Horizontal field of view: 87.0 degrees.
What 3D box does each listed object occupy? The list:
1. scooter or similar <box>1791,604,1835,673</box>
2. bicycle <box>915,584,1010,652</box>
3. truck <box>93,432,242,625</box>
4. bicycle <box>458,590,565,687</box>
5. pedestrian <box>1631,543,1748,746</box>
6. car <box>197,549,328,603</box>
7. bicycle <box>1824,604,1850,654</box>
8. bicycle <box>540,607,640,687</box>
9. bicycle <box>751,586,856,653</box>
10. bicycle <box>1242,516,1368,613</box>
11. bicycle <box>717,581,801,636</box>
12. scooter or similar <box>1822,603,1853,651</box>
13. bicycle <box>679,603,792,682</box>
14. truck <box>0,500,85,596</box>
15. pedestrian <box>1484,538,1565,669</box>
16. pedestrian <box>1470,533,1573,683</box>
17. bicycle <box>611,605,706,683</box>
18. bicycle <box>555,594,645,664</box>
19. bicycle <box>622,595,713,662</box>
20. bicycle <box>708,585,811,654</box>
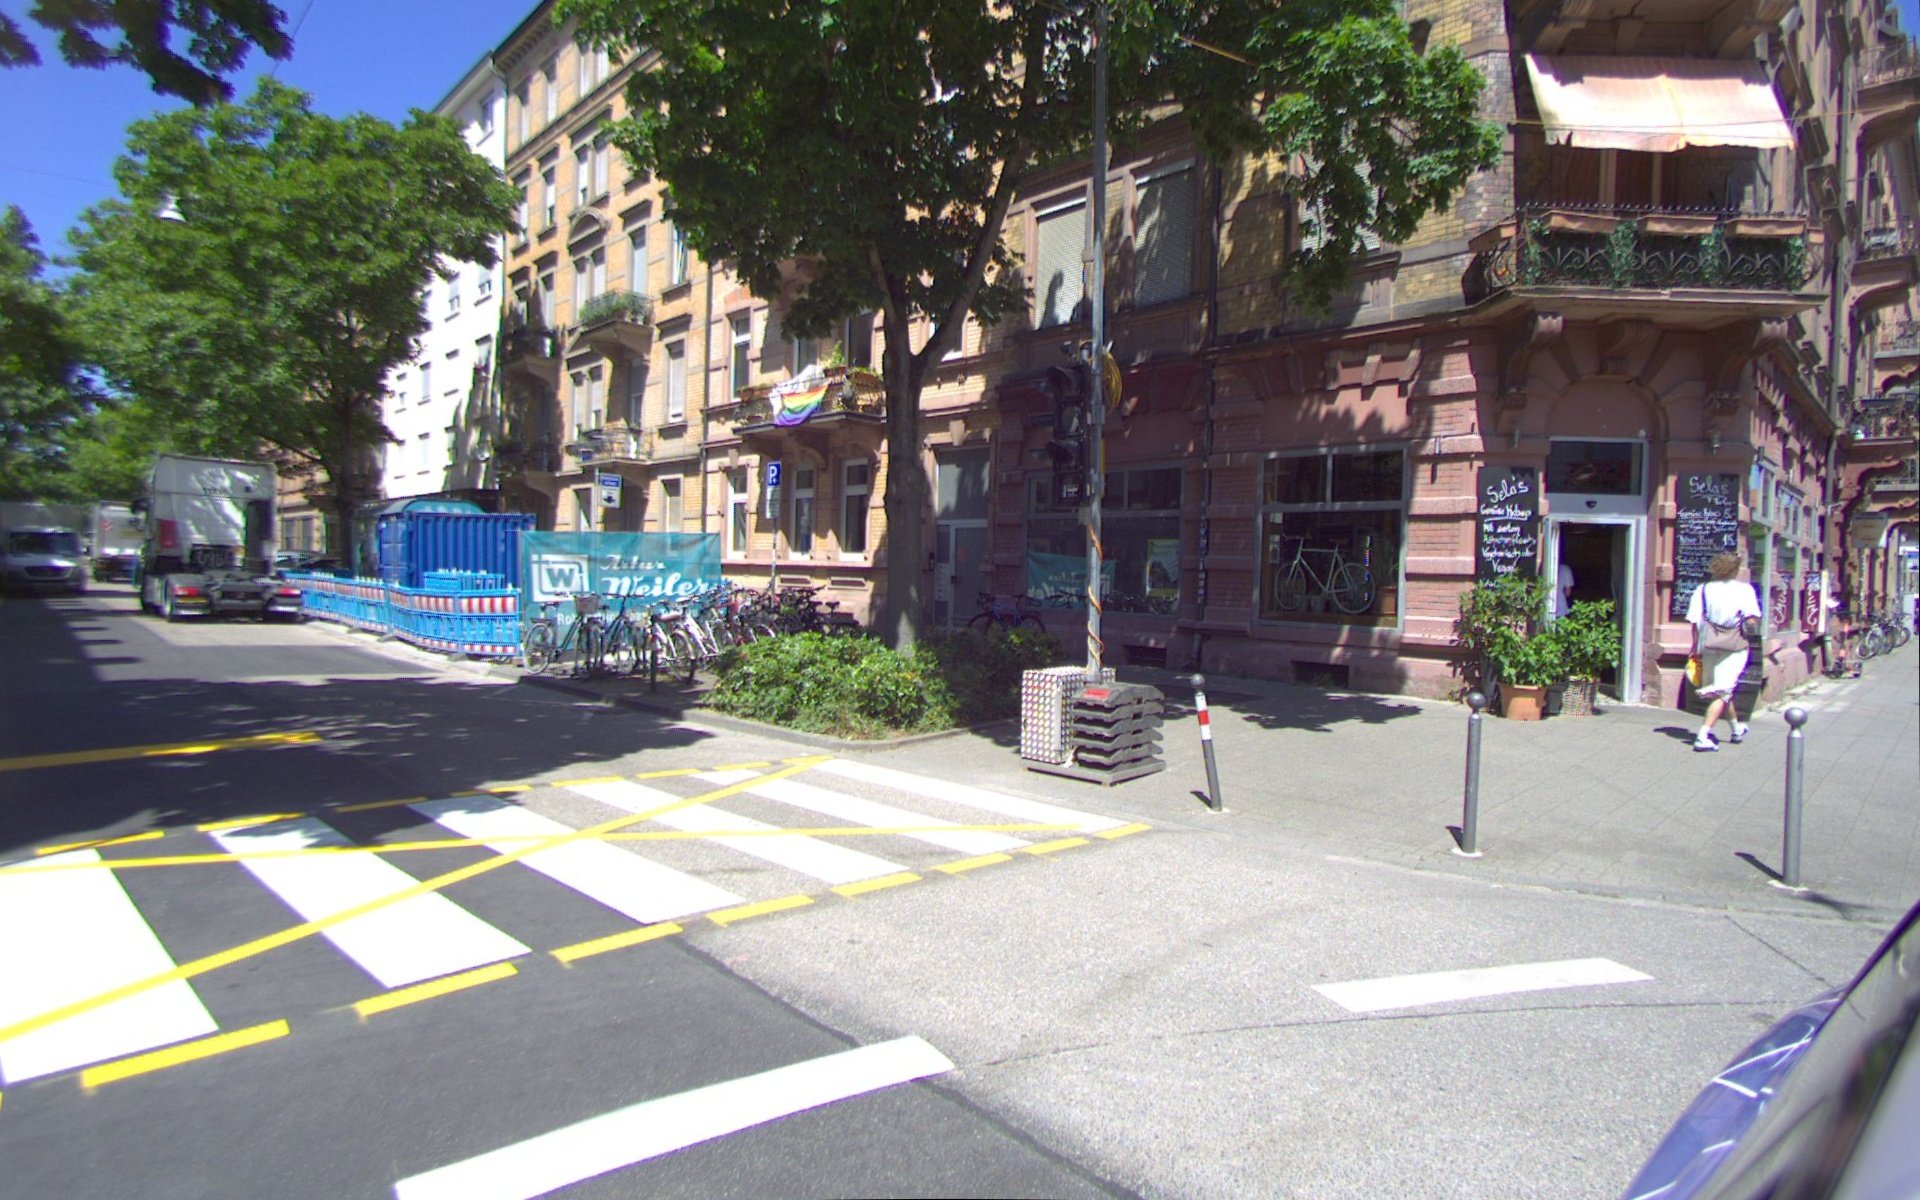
[{"bbox_3d":[15.268,0.668,18.102,1.248,1.192,0.293,1,1,-37],"label":"scooter or similar"},{"bbox_3d":[0.020,0.277,16.685,0.514,1.020,1.692,1,2,-44],"label":"bicycle"},{"bbox_3d":[-18.382,-1.572,23.388,2.251,4.003,4.467,0,2,-44],"label":"truck"},{"bbox_3d":[-5.842,0.467,13.138,1.776,1.120,0.502,3,2,39],"label":"bicycle"},{"bbox_3d":[6.577,0.372,9.133,0.854,1.754,0.480,0,2,-27],"label":"pedestrian"},{"bbox_3d":[-25.440,-0.871,36.976,3.728,1.894,1.769,0,2,-43],"label":"car"},{"bbox_3d":[20.466,0.664,23.611,0.354,1.117,1.728,2,2,44],"label":"bicycle"},{"bbox_3d":[-4.854,0.575,13.188,0.500,0.883,2.072,1,2,-41],"label":"bicycle"},{"bbox_3d":[-2.382,0.263,15.166,0.500,0.883,2.072,1,2,-41],"label":"bicycle"},{"bbox_3d":[4.377,-0.456,12.905,0.501,1.166,1.424,0,2,-43],"label":"bicycle"},{"bbox_3d":[-3.619,0.129,18.089,0.500,0.883,2.072,1,2,-41],"label":"bicycle"},{"bbox_3d":[22.483,0.670,25.908,0.476,1.167,2.115,2,1,44],"label":"scooter or similar"},{"bbox_3d":[-2.996,0.525,13.349,0.500,0.883,2.072,1,2,-41],"label":"bicycle"},{"bbox_3d":[-29.857,-1.650,32.845,1.967,2.892,4.259,0,2,-44],"label":"truck"},{"bbox_3d":[7.694,0.036,13.817,0.710,1.739,0.497,2,3,-1],"label":"pedestrian"},{"bbox_3d":[7.131,0.088,12.869,0.923,1.840,0.457,2,4,-2],"label":"pedestrian"},{"bbox_3d":[-3.997,0.548,13.334,0.500,0.883,1.743,1,2,-41],"label":"bicycle"},{"bbox_3d":[-5.279,0.398,14.769,0.500,0.883,2.072,1,2,-41],"label":"bicycle"},{"bbox_3d":[-4.527,0.406,15.575,0.500,0.883,2.072,1,2,-41],"label":"bicycle"},{"bbox_3d":[-2.973,0.252,14.827,0.500,0.883,2.072,1,2,-41],"label":"bicycle"}]
